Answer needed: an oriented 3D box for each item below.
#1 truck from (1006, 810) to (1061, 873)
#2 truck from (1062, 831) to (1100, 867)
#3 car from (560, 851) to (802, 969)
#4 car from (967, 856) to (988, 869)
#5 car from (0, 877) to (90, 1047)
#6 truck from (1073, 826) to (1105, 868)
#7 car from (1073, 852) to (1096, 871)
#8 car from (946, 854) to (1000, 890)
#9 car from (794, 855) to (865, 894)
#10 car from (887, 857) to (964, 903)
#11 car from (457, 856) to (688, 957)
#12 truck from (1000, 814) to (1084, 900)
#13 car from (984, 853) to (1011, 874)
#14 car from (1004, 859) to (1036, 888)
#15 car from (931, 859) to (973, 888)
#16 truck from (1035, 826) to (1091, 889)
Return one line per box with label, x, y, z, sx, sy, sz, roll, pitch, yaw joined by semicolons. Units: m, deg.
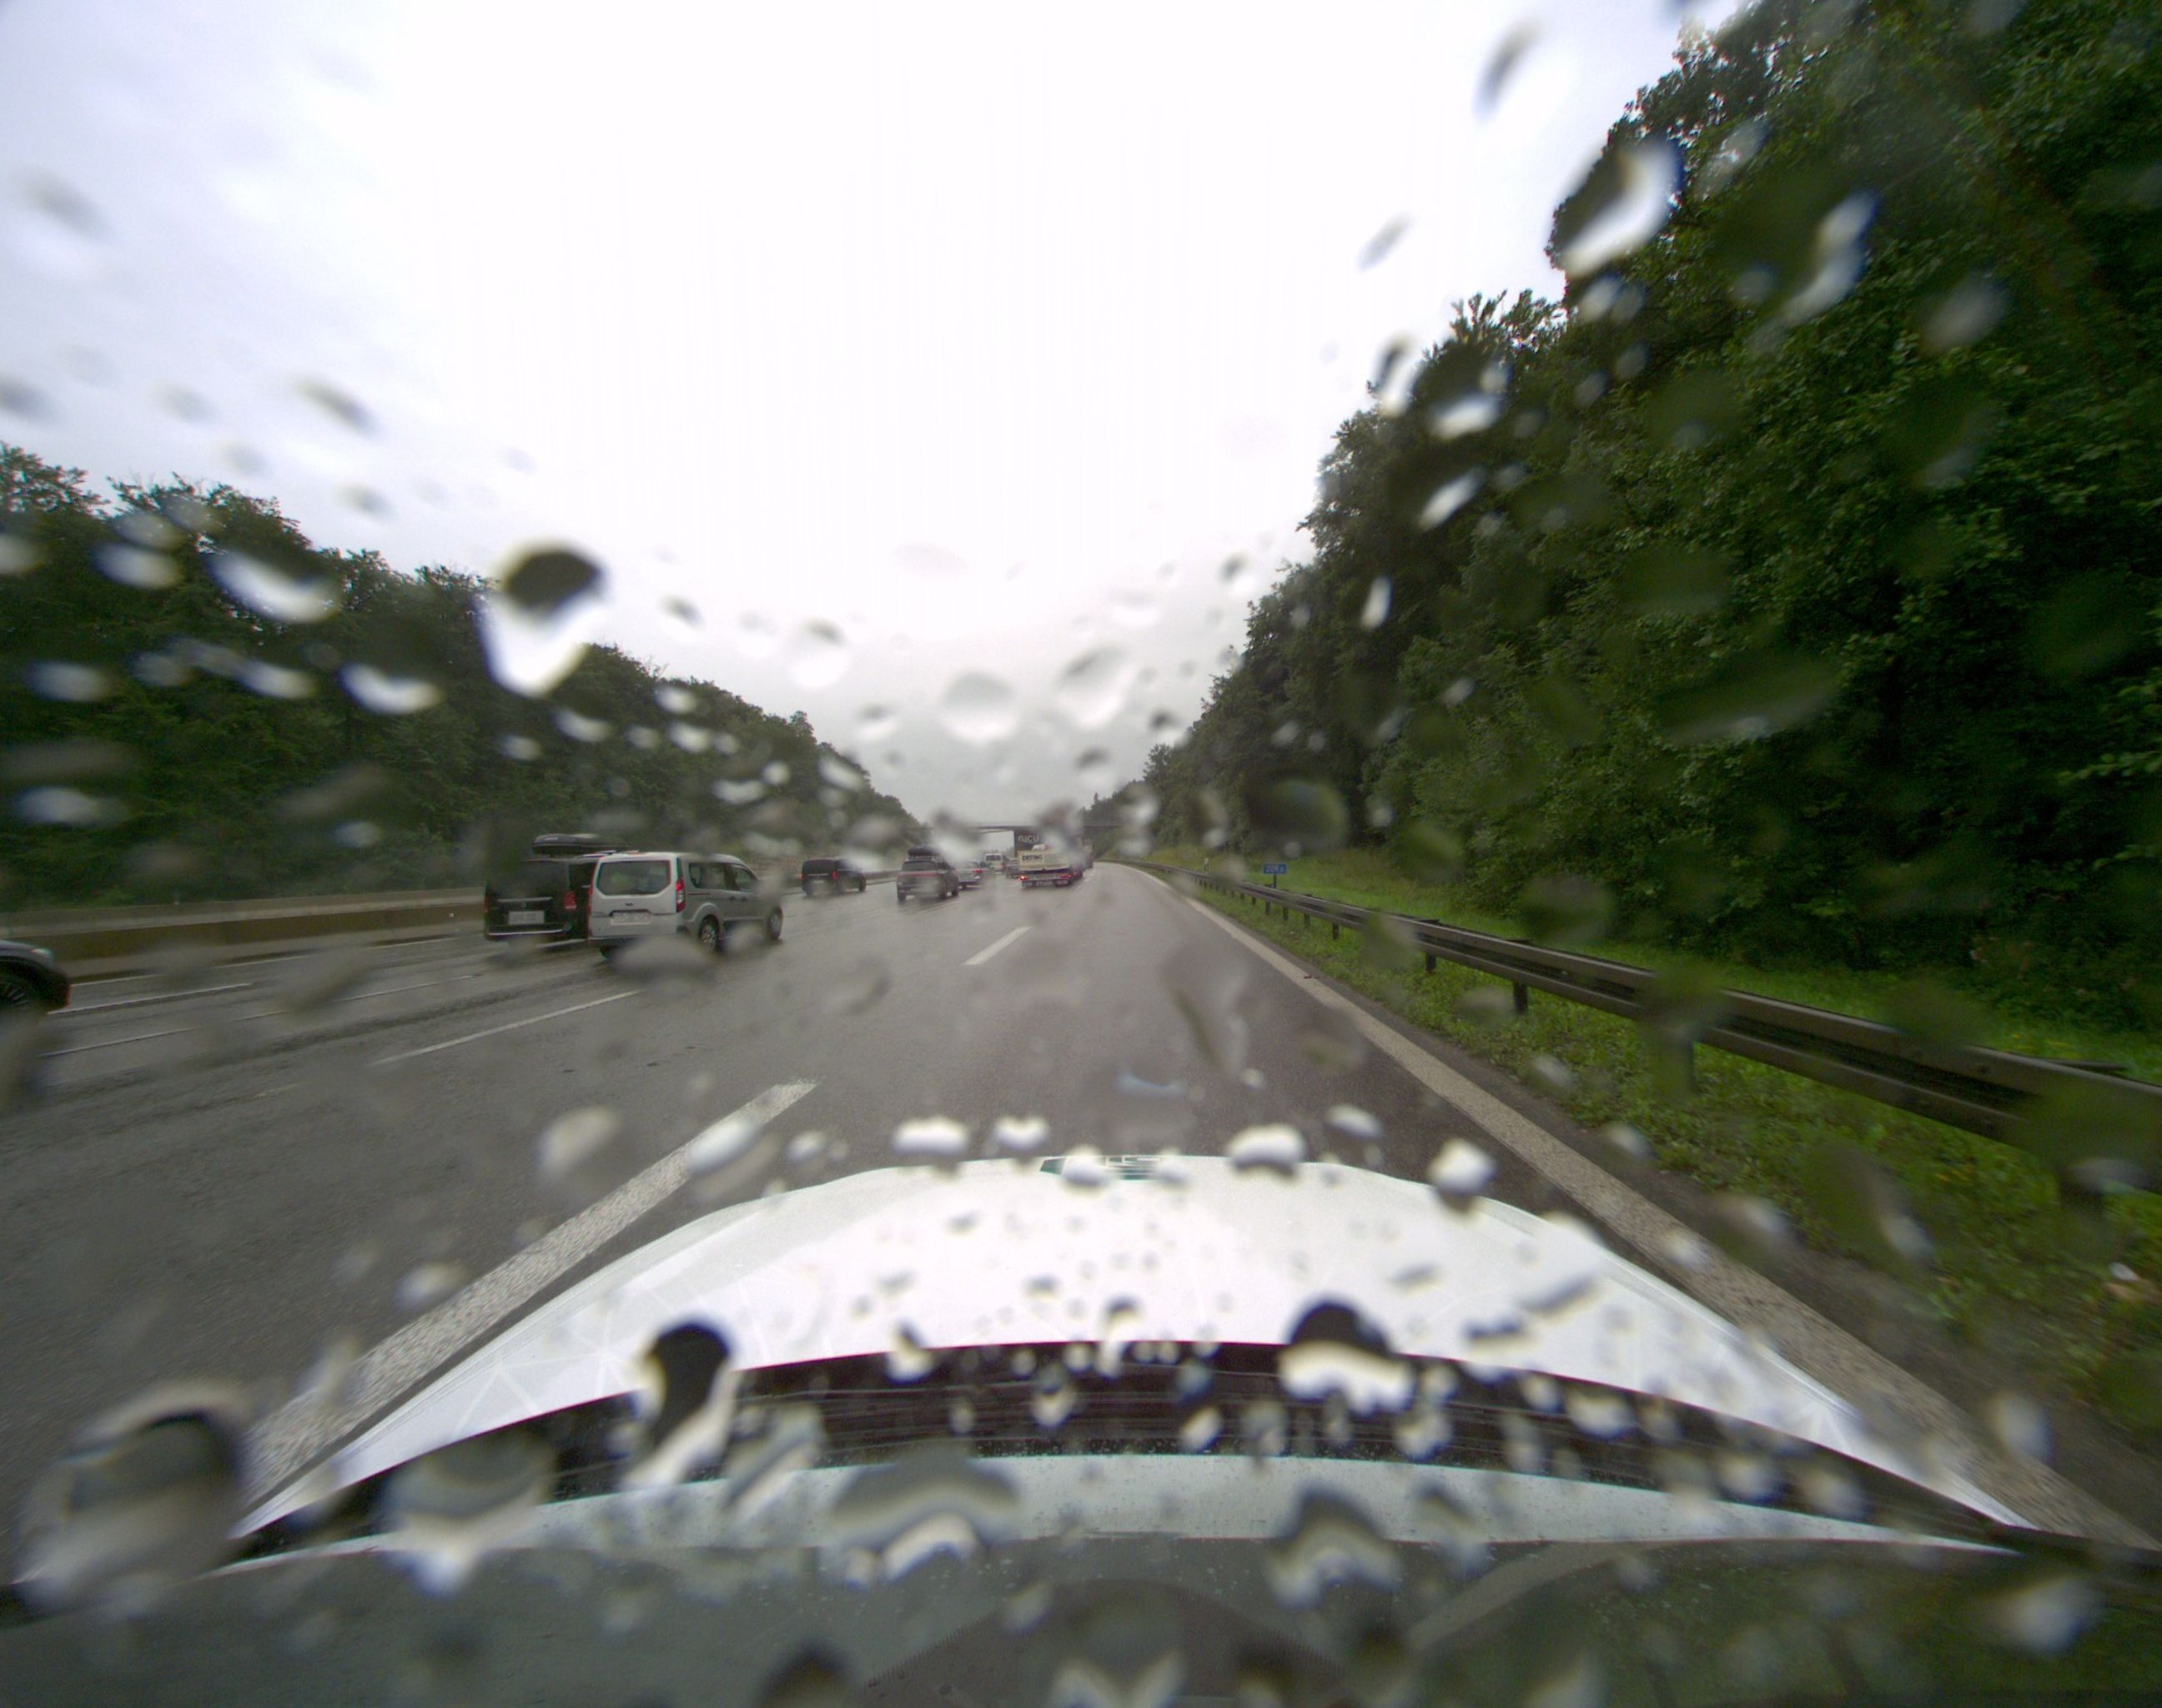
truck;-4.401;-1.046;78.121;3.737;5.500;10.183;2;-2;4
truck;0.120;-0.509;99.684;3.738;3.971;11.069;2;-2;4
car;-7.075;0.877;15.084;1.837;1.751;4.573;-3;0;5
car;-11.638;0.969;91.843;1.615;1.448;3.763;2;-2;3
car;-11.411;1.074;6.057;1.984;1.594;4.814;-2;0;4
truck;1.264;-0.875;119.632;4.319;5.764;9.734;2;-2;2
car;0.376;0.750;79.546;1.985;1.800;4.003;2;-2;3
car;-5.440;0.875;41.615;1.929;1.662;4.004;-2;0;4
car;-12.770;0.990;41.714;1.919;1.832;4.590;-2;0;3
car;-6.053;1.033;32.274;1.985;1.636;4.003;2;-2;4
car;-10.386;0.974;17.100;1.985;1.798;4.159;-2;0;4
truck;-1.914;0.149;46.040;3.585;4.105;11.567;-2;0;2
car;-7.865;0.899;77.124;1.836;1.860;4.003;2;-2;3
car;-4.554;1.470;61.397;1.785;2.014;4.004;2;-2;4
car;-8.001;1.157;50.690;1.748;1.647;4.002;-2;0;2
truck;-1.181;0.390;61.682;3.493;4.268;10.607;2;-2;2
